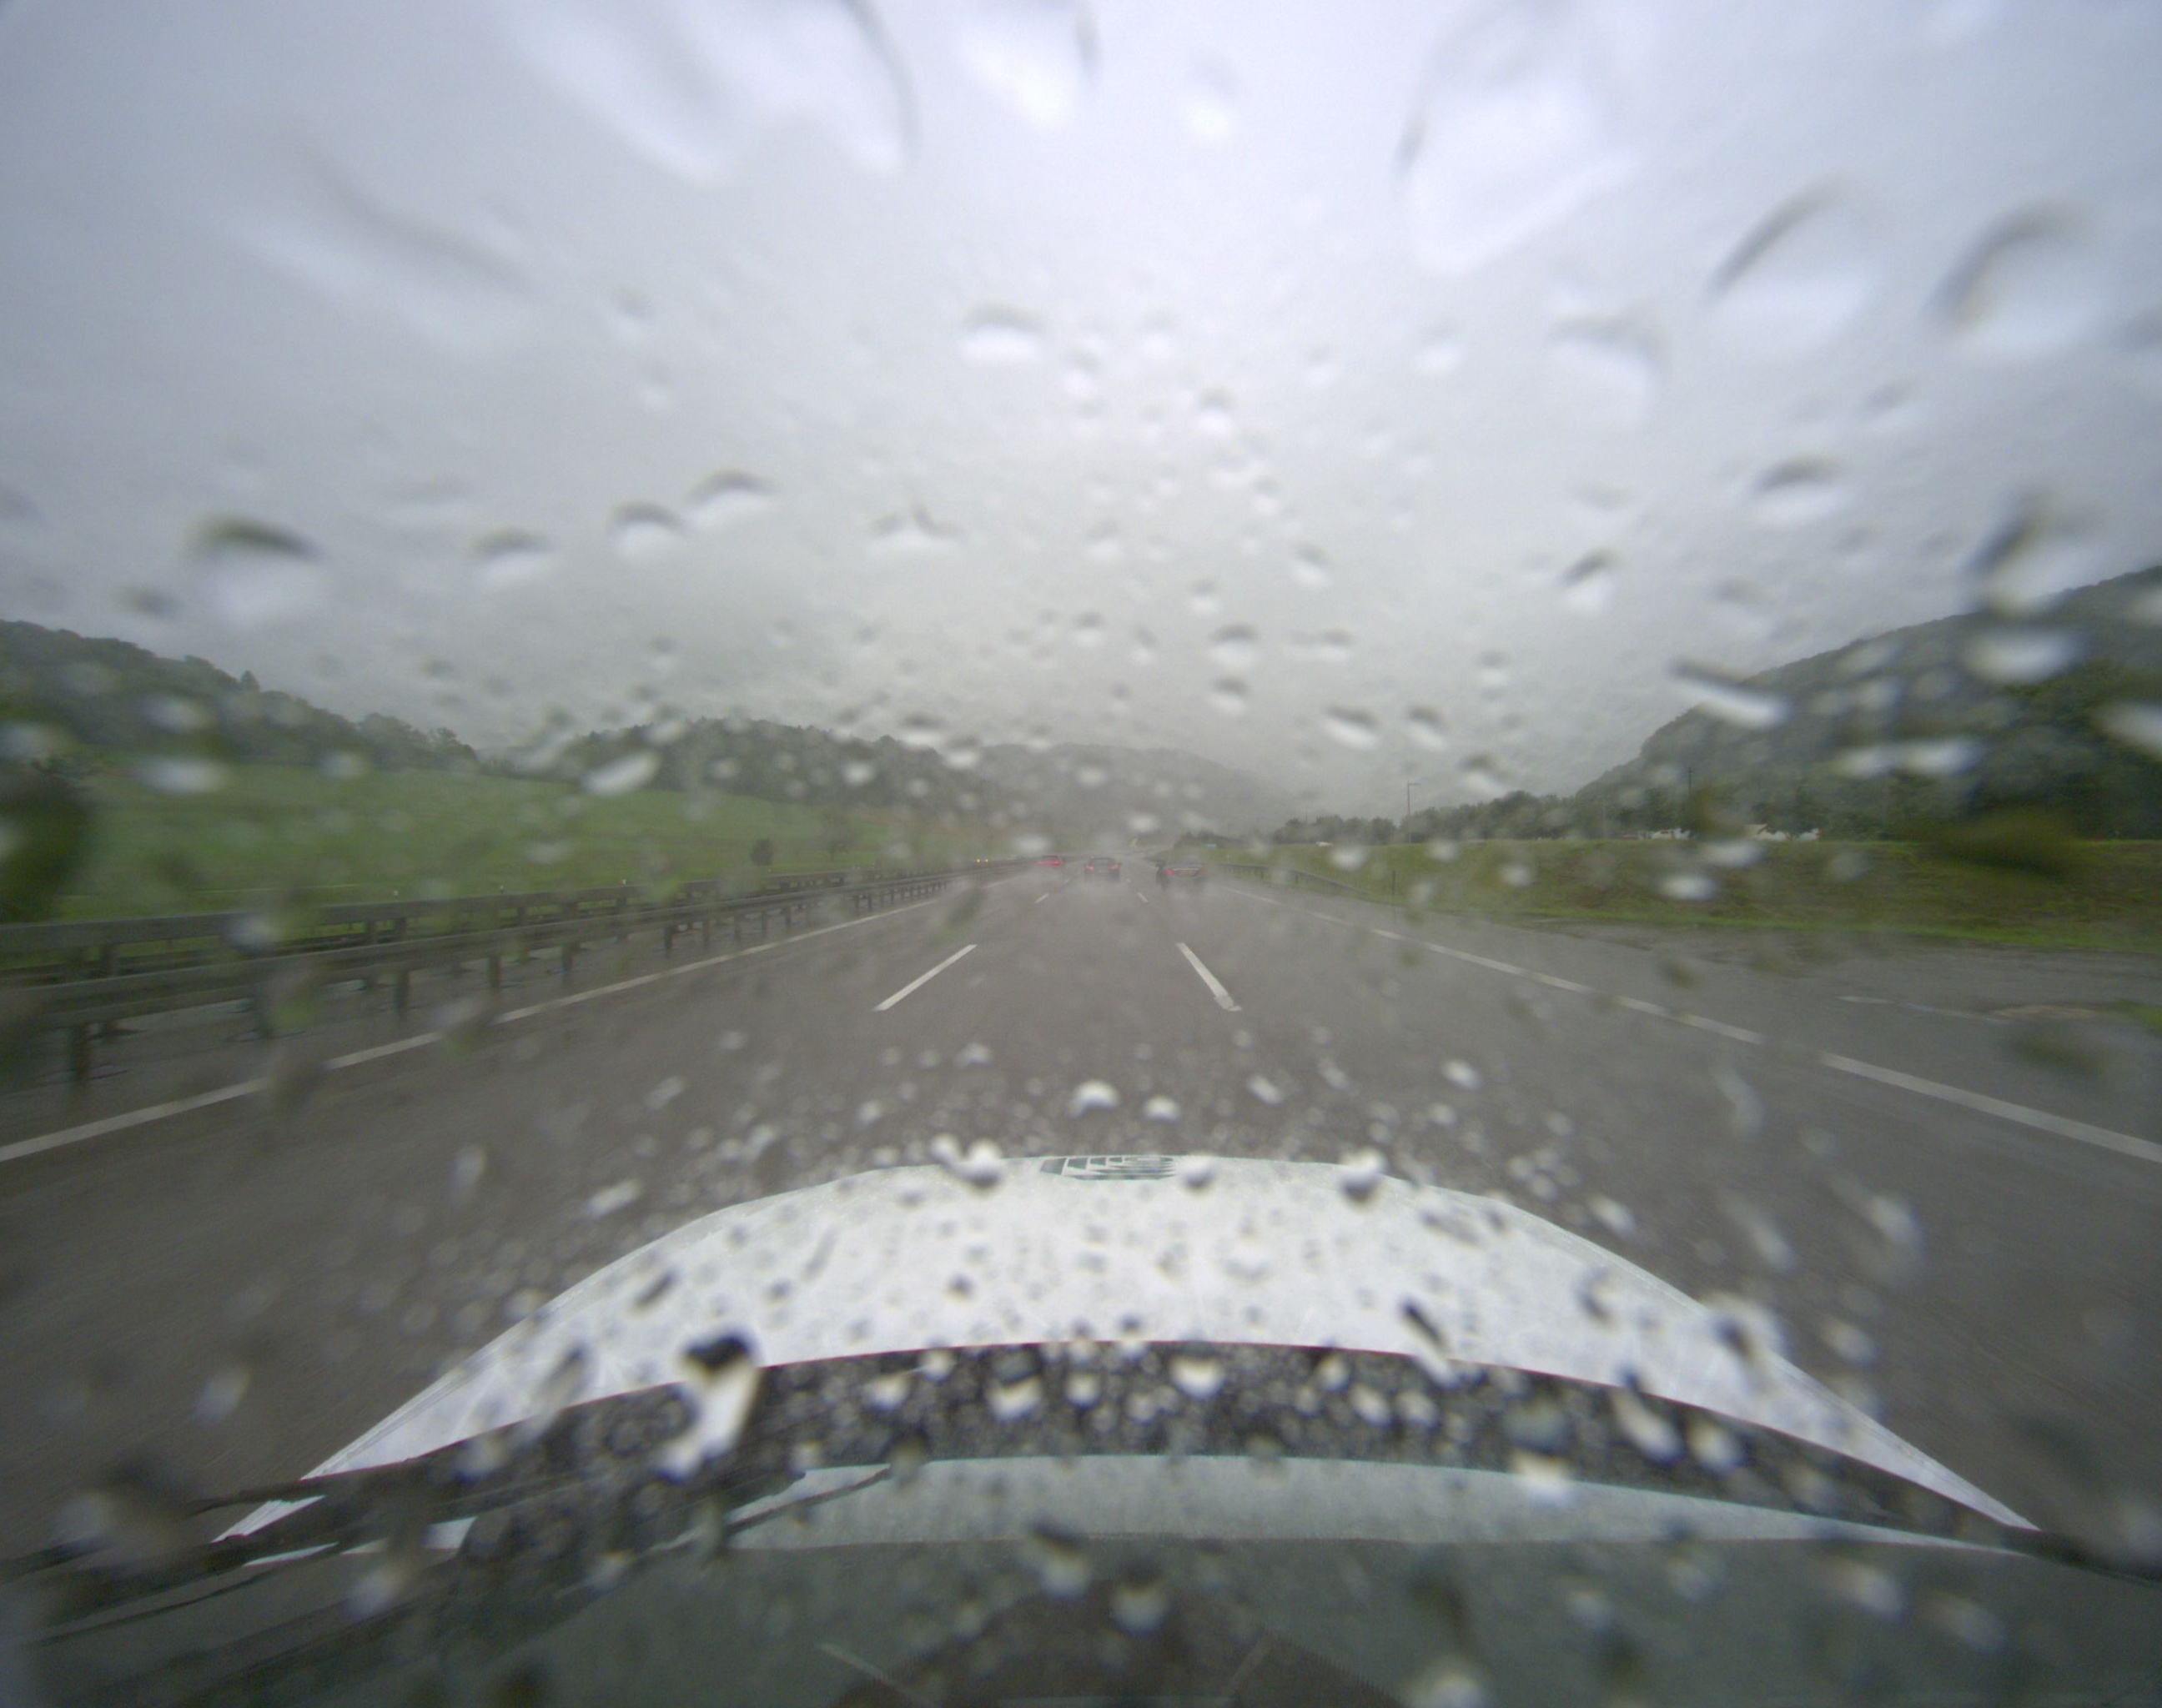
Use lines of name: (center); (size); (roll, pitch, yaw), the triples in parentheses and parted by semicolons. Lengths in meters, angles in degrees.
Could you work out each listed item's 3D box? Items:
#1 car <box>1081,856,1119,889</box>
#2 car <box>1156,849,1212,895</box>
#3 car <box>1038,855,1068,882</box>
car: (1.010, 0.898, 41.459); (1.852, 1.589, 4.002); (0, 0, 2)
car: (4.277, 0.712, 34.442); (1.964, 1.760, 4.002); (-2, 0, 2)
car: (-1.994, 1.032, 59.125); (1.878, 1.816, 4.001); (-1, 0, 1)
